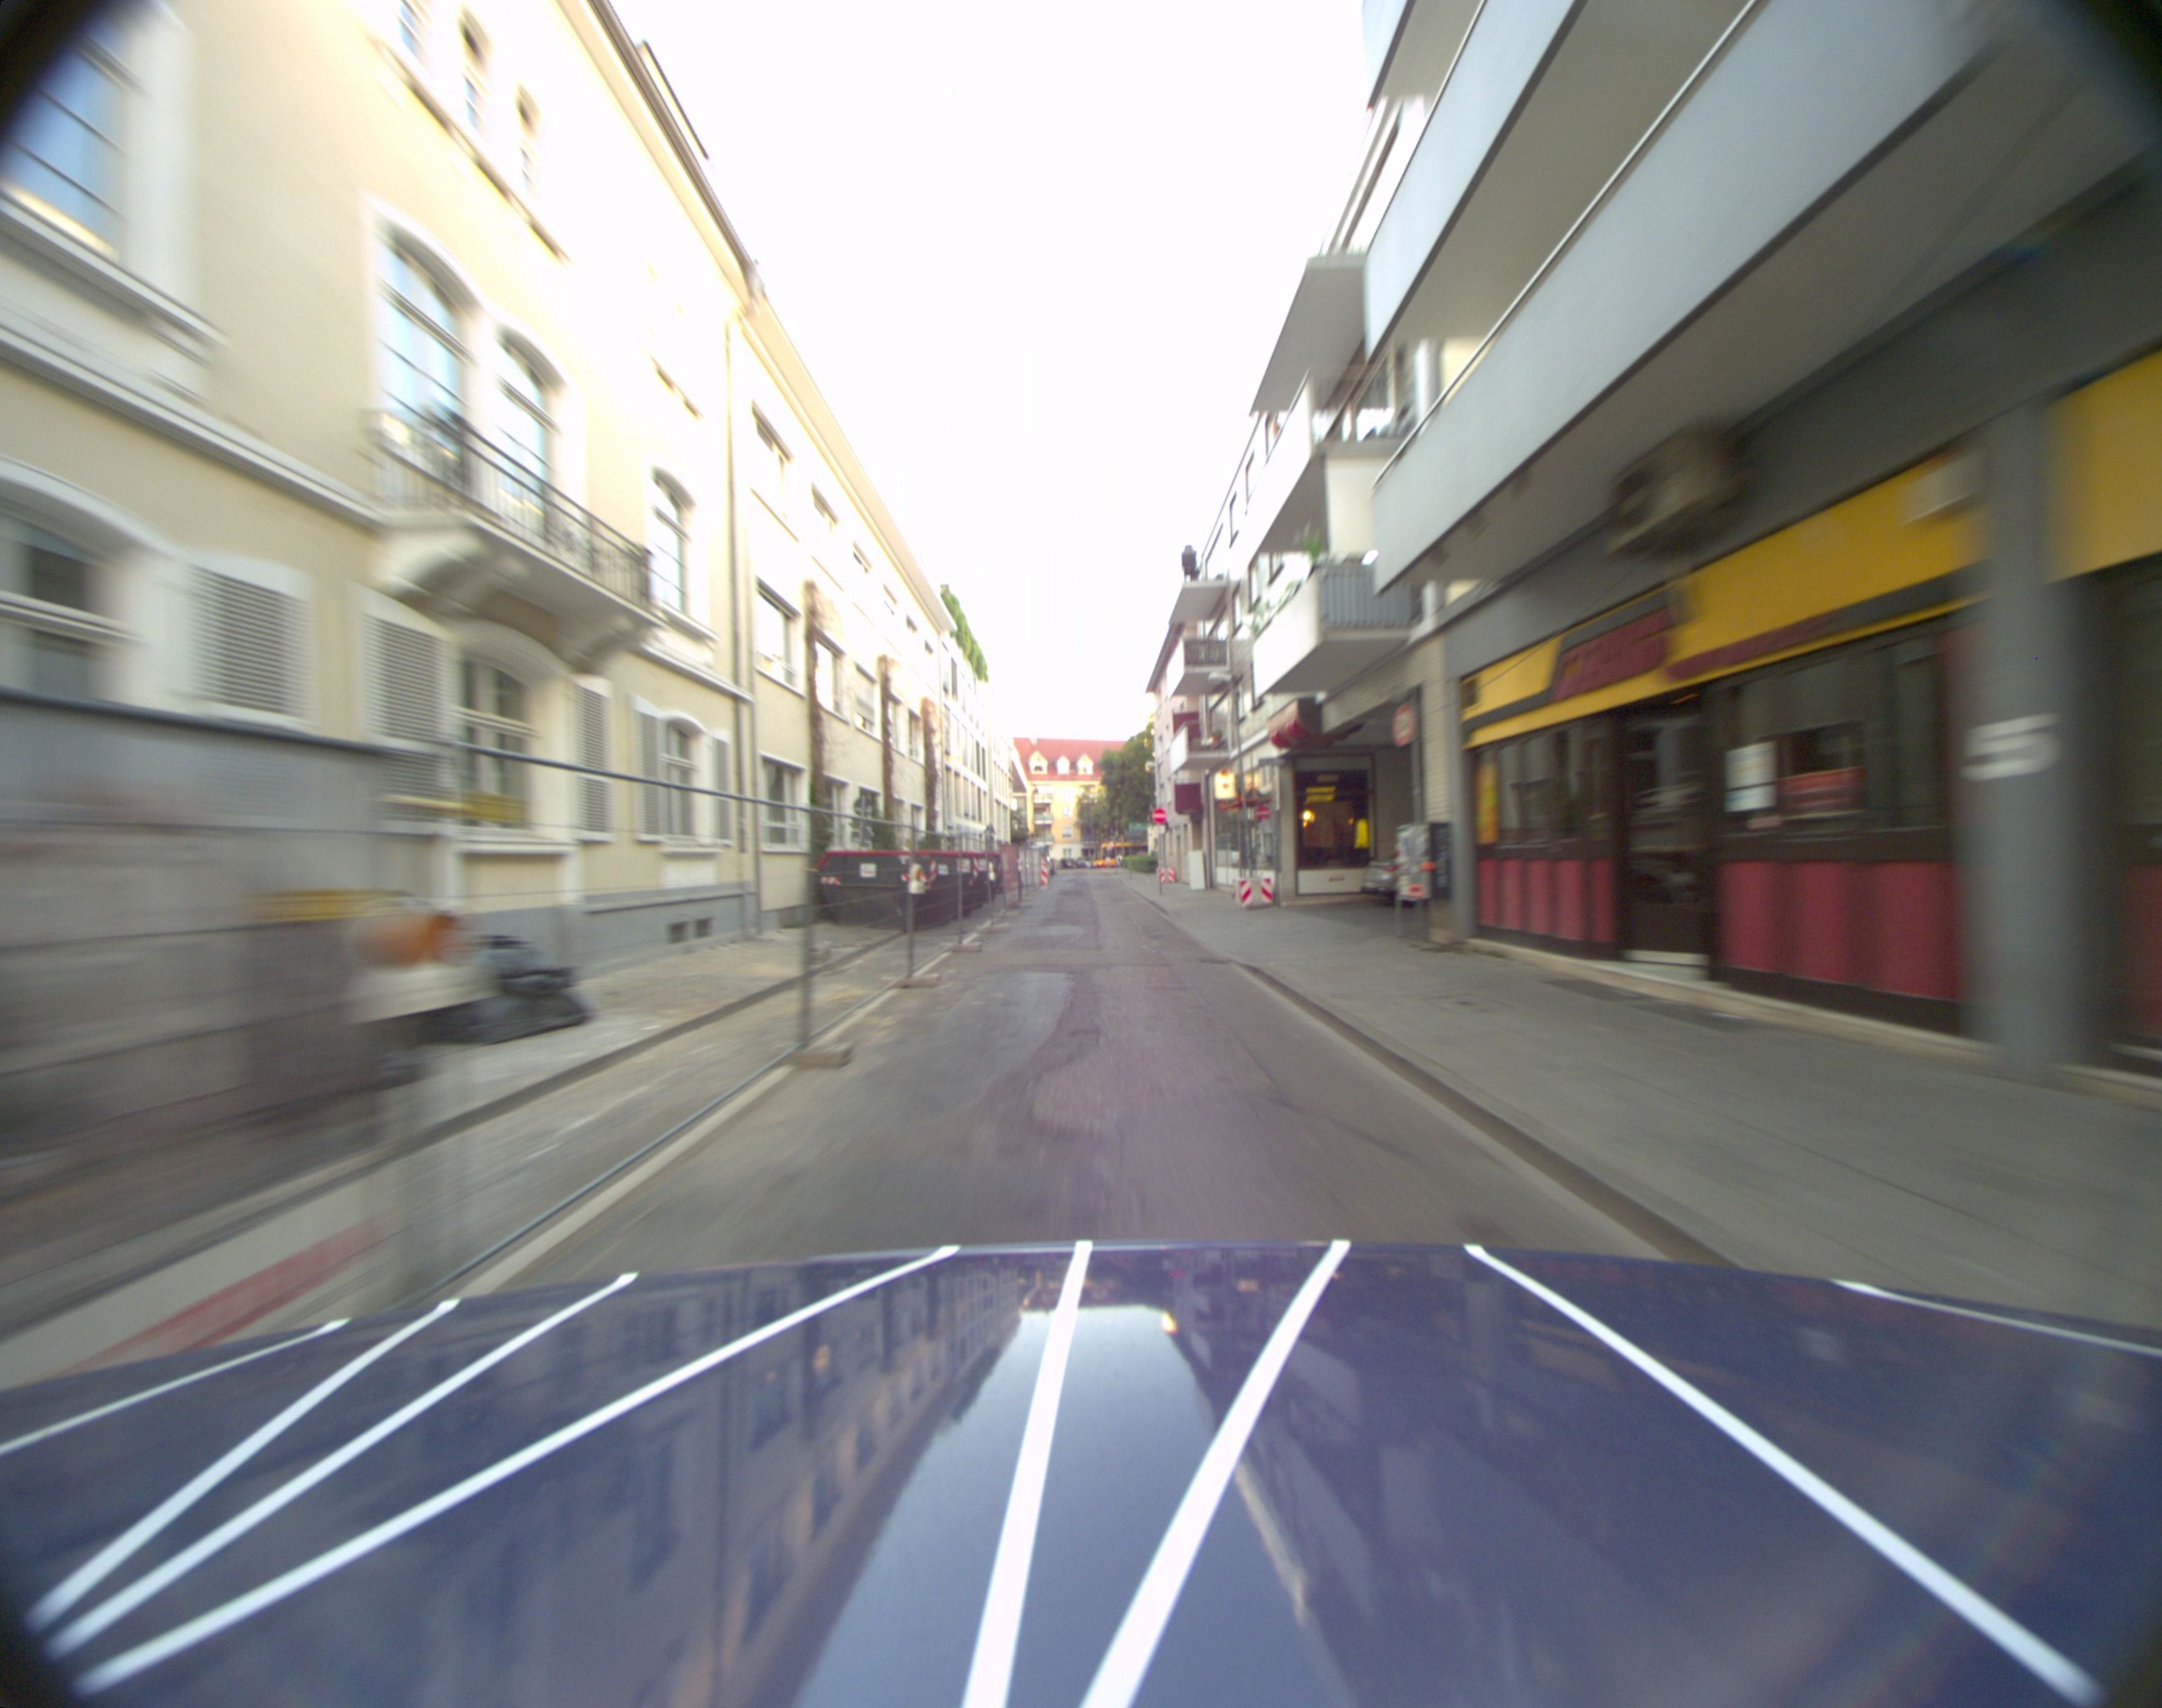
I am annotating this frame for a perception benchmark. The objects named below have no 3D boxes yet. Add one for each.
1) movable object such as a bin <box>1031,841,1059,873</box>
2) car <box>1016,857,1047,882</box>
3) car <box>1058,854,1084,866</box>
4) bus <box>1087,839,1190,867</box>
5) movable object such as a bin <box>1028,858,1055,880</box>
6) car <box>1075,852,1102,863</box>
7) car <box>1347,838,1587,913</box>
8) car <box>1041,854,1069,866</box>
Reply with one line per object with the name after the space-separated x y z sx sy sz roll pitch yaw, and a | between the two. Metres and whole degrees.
-3.110 0.248 65.978 2.096 2.631 4.372 -3 0 0 | movable object such as a bin
-2.824 0.872 44.207 1.493 1.285 3.779 -3 0 0 | car
-1.322 0.762 99.376 1.795 1.466 3.991 -1 0 -28 | car
7.393 -0.160 97.437 12.538 3.306 3.920 -1 2 -13 | bus
-2.539 0.958 49.406 1.493 1.285 3.779 -3 0 0 | movable object such as a bin
0.913 0.436 100.080 1.795 1.466 3.990 -1 1 -29 | car
8.752 0.459 17.529 4.443 1.455 2.069 -2 0 -1 | car
-3.398 0.805 98.284 1.795 1.466 3.990 -1 1 -33 | car
